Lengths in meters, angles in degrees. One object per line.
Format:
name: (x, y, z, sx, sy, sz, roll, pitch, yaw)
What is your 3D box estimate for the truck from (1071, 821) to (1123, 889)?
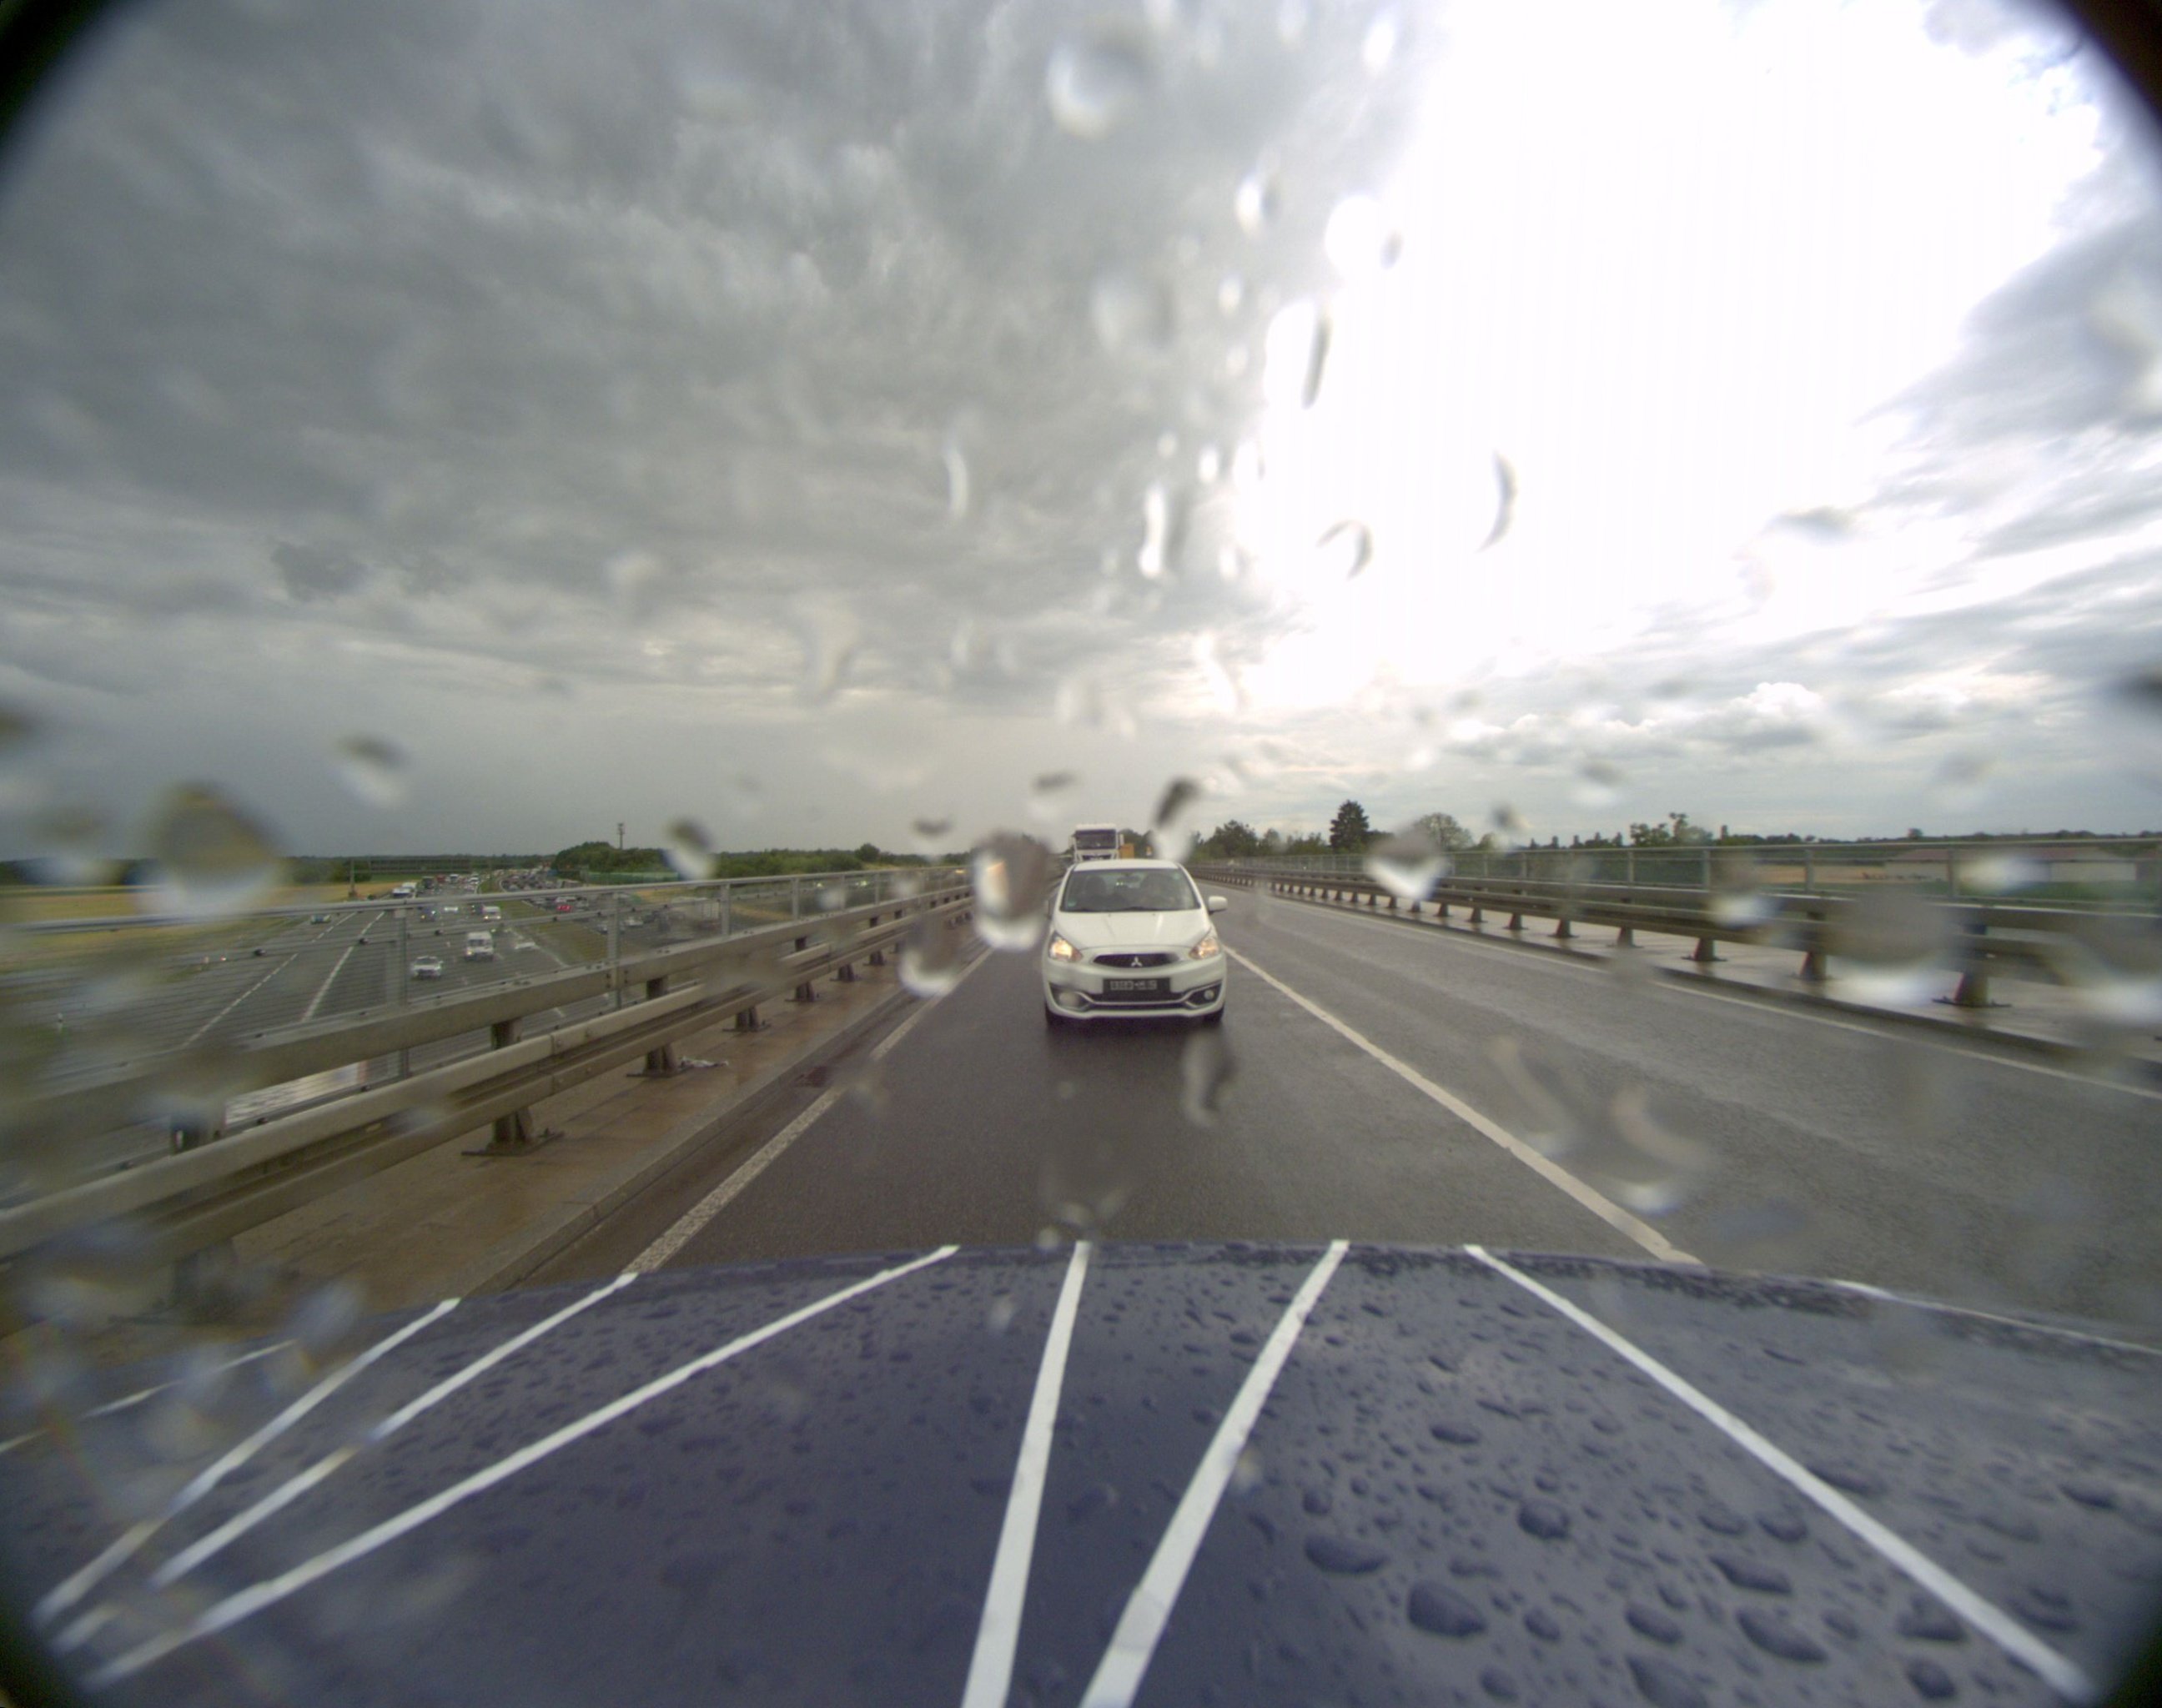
truck: (0.841, -0.114, 44.986, 2.631, 3.537, 8.474, -2, 2, 0)

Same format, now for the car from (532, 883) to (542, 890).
car: (-151.730, 8.996, 211.815, 1.860, 1.764, 4.712, -3, 1, -40)

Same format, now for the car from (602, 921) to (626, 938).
car: (-58.671, 9.461, 95.357, 1.860, 1.659, 4.712, -3, 1, -40)

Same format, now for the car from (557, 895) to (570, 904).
car: (-111.898, 9.893, 164.198, 1.860, 1.764, 4.712, -3, 1, -40)

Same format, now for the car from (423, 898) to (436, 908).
car: (-129.450, 9.762, 150.913, 1.860, 1.659, 4.712, -3, 1, -40)

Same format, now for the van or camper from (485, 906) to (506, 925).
van or camper: (-88.931, 9.229, 115.372, 2.063, 2.436, 7.311, -3, 1, -40)

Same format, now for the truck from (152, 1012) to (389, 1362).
truck: (-18.853, 6.997, 18.346, 2.691, 4.599, 9.727, -3, 1, -41)

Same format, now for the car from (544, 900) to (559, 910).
car: (-101.261, 9.684, 145.261, 1.860, 1.659, 4.712, -3, 1, -40)

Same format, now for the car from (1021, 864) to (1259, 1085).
car: (0.455, 0.908, 7.592, 1.675, 1.476, 4.129, -2, 0, 1)

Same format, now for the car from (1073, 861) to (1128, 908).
car: (0.648, 0.997, 26.143, 1.675, 1.366, 4.129, -2, 0, 1)

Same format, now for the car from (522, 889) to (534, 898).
car: (-132.479, 9.464, 181.945, 1.860, 1.764, 4.712, -3, 1, -40)

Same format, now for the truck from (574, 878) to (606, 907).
truck: (-101.431, 7.789, 156.918, 3.302, 5.411, 15.588, -3, 1, -41)

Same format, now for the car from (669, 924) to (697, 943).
car: (-45.722, 9.117, 87.269, 1.860, 1.659, 4.712, -3, 1, -40)

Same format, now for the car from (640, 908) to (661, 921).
car: (-65.403, 9.225, 115.353, 1.860, 1.659, 4.712, -3, 1, -40)

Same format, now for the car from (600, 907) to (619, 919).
car: (-76.850, 9.594, 123.745, 1.860, 1.659, 4.712, -3, 1, -40)

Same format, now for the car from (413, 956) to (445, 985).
car: (-52.022, 9.276, 60.641, 1.818, 1.659, 4.712, -3, 1, -40)

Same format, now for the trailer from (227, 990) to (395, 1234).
trailer: (-23.402, 7.266, 23.603, 2.691, 4.602, 9.882, -3, 1, -41)

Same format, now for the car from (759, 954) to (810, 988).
car: (-20.879, 8.177, 53.464, 1.860, 1.659, 4.712, -3, 1, -40)

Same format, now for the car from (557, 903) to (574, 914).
car: (-89.645, 9.393, 132.048, 1.860, 1.659, 4.712, -3, 1, -40)

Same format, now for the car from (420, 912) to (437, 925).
car: (-100.366, 9.883, 116.901, 1.860, 1.659, 4.712, -3, 1, -40)

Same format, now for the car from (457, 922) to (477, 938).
car: (-80.127, 9.918, 99.089, 1.818, 1.659, 4.712, -3, 1, -40)

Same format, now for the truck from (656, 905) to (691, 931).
truck: (-55.352, 8.552, 103.054, 2.216, 2.948, 9.284, -3, 1, -40)

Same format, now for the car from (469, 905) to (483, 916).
car: (-106.188, 9.930, 133.332, 1.860, 1.659, 4.712, -3, 1, -40)

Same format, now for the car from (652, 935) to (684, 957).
car: (-41.064, 9.121, 75.525, 1.860, 1.659, 4.712, -3, 1, -40)

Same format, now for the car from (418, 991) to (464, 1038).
car: (-35.660, 8.856, 42.342, 1.818, 1.659, 4.712, -3, 1, -40)

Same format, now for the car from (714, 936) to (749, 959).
car: (-33.186, 8.837, 72.089, 1.860, 1.659, 4.712, -3, 1, -40)

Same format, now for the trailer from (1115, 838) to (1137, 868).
trailer: (6.356, -0.123, 107.640, 2.689, 4.051, 8.486, -2, 0, 1)

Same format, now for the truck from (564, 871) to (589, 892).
truck: (-133.726, 7.244, 201.261, 3.500, 5.321, 15.588, -3, 1, -41)

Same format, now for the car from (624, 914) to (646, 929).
car: (-62.241, 9.429, 105.955, 1.860, 1.659, 4.712, -3, 1, -40)

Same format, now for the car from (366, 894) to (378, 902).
car: (-158.553, 9.865, 170.000, 1.818, 1.427, 4.712, -3, 0, -41)

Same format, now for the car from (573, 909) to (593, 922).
car: (-75.106, 9.270, 114.593, 1.860, 1.659, 4.712, -3, 1, -40)

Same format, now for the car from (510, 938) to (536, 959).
car: (-57.696, 9.737, 78.516, 1.818, 1.659, 4.712, -3, 1, -40)

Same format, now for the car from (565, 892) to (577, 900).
car: (-120.195, 9.830, 178.951, 1.860, 1.764, 4.712, -3, 1, -40)

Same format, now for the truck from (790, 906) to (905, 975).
truck: (-20.242, 7.043, 64.660, 3.611, 4.511, 15.589, -3, 1, -39)

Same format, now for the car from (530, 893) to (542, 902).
car: (-121.451, 9.676, 169.284, 1.860, 1.764, 4.712, -3, 1, -40)

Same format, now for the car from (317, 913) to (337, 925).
car: (-113.958, 9.771, 114.808, 1.818, 1.427, 4.712, -3, 0, -41)

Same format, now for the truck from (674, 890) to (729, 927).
truck: (-54.851, 7.651, 109.432, 3.611, 4.511, 15.589, -3, 1, -39)

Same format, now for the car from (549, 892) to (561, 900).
car: (-124.587, 9.874, 180.067, 1.860, 1.764, 4.712, -3, 1, -40)

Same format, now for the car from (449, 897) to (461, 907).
car: (-129.914, 9.970, 157.722, 1.860, 1.659, 4.712, -3, 1, -40)

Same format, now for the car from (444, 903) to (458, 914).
car: (-114.444, 9.851, 138.004, 1.860, 1.659, 4.712, -3, 1, -40)

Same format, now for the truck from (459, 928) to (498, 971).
truck: (-57.524, 8.975, 72.488, 2.601, 3.161, 8.373, -3, 1, -40)

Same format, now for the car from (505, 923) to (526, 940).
car: (-72.738, 9.944, 97.684, 1.818, 1.659, 4.712, -3, 1, -40)

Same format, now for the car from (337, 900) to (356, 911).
car: (-124.975, 8.709, 129.335, 1.860, 1.659, 4.712, -3, 1, -40)

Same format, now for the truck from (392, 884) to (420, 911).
truck: (-135.310, 8.703, 152.471, 2.799, 4.871, 12.724, -3, 1, -36)

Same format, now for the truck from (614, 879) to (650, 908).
truck: (-87.469, 7.577, 147.820, 3.302, 5.135, 15.588, -3, 1, -41)

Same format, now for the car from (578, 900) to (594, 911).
car: (-91.994, 9.575, 141.199, 1.860, 1.764, 4.712, -3, 1, -40)

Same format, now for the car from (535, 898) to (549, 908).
car: (-108.151, 9.824, 152.522, 1.860, 1.764, 4.712, -3, 1, -40)

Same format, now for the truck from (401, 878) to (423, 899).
truck: (-162.586, 8.367, 184.861, 2.799, 4.590, 12.724, -3, 1, -36)

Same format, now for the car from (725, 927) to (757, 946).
car: (-37.516, 9.082, 83.794, 1.860, 1.659, 4.712, -3, 1, -40)

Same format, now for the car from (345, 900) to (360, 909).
car: (-148.738, 10.326, 155.227, 1.860, 1.659, 4.712, -3, 1, -40)
